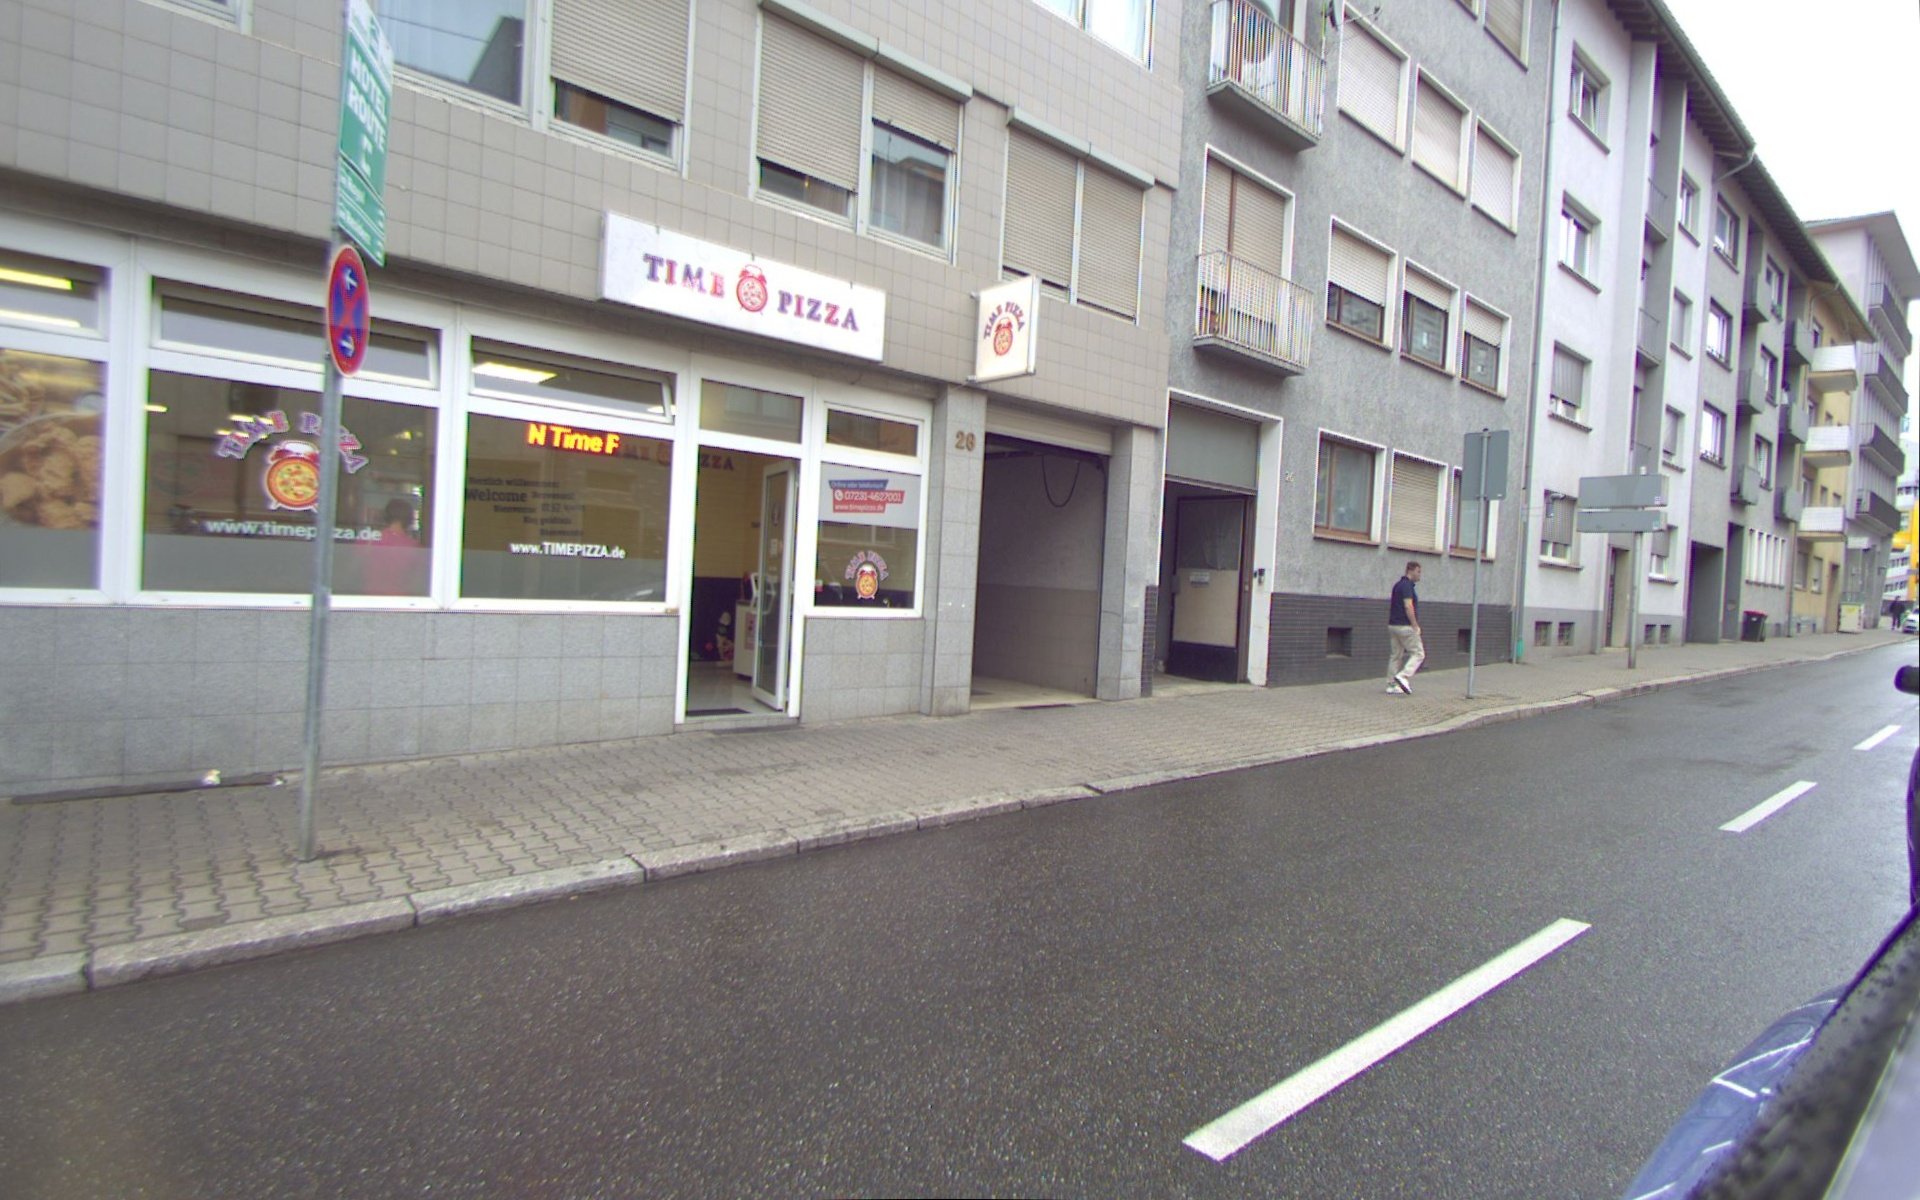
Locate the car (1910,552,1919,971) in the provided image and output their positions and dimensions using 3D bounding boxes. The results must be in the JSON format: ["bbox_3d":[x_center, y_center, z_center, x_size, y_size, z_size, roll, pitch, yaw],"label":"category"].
[{"bbox_3d":[6.087,0.653,4.943,4.144,1.743,1.697,-1,0,-41],"label":"car"}]

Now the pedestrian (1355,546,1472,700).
[{"bbox_3d":[5.996,0.271,13.386,1.100,1.887,0.871,0,7,-41],"label":"pedestrian"}]

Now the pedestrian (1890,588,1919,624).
[{"bbox_3d":[48.713,0.284,52.085,1.117,1.772,0.946,4,3,44],"label":"pedestrian"}]
